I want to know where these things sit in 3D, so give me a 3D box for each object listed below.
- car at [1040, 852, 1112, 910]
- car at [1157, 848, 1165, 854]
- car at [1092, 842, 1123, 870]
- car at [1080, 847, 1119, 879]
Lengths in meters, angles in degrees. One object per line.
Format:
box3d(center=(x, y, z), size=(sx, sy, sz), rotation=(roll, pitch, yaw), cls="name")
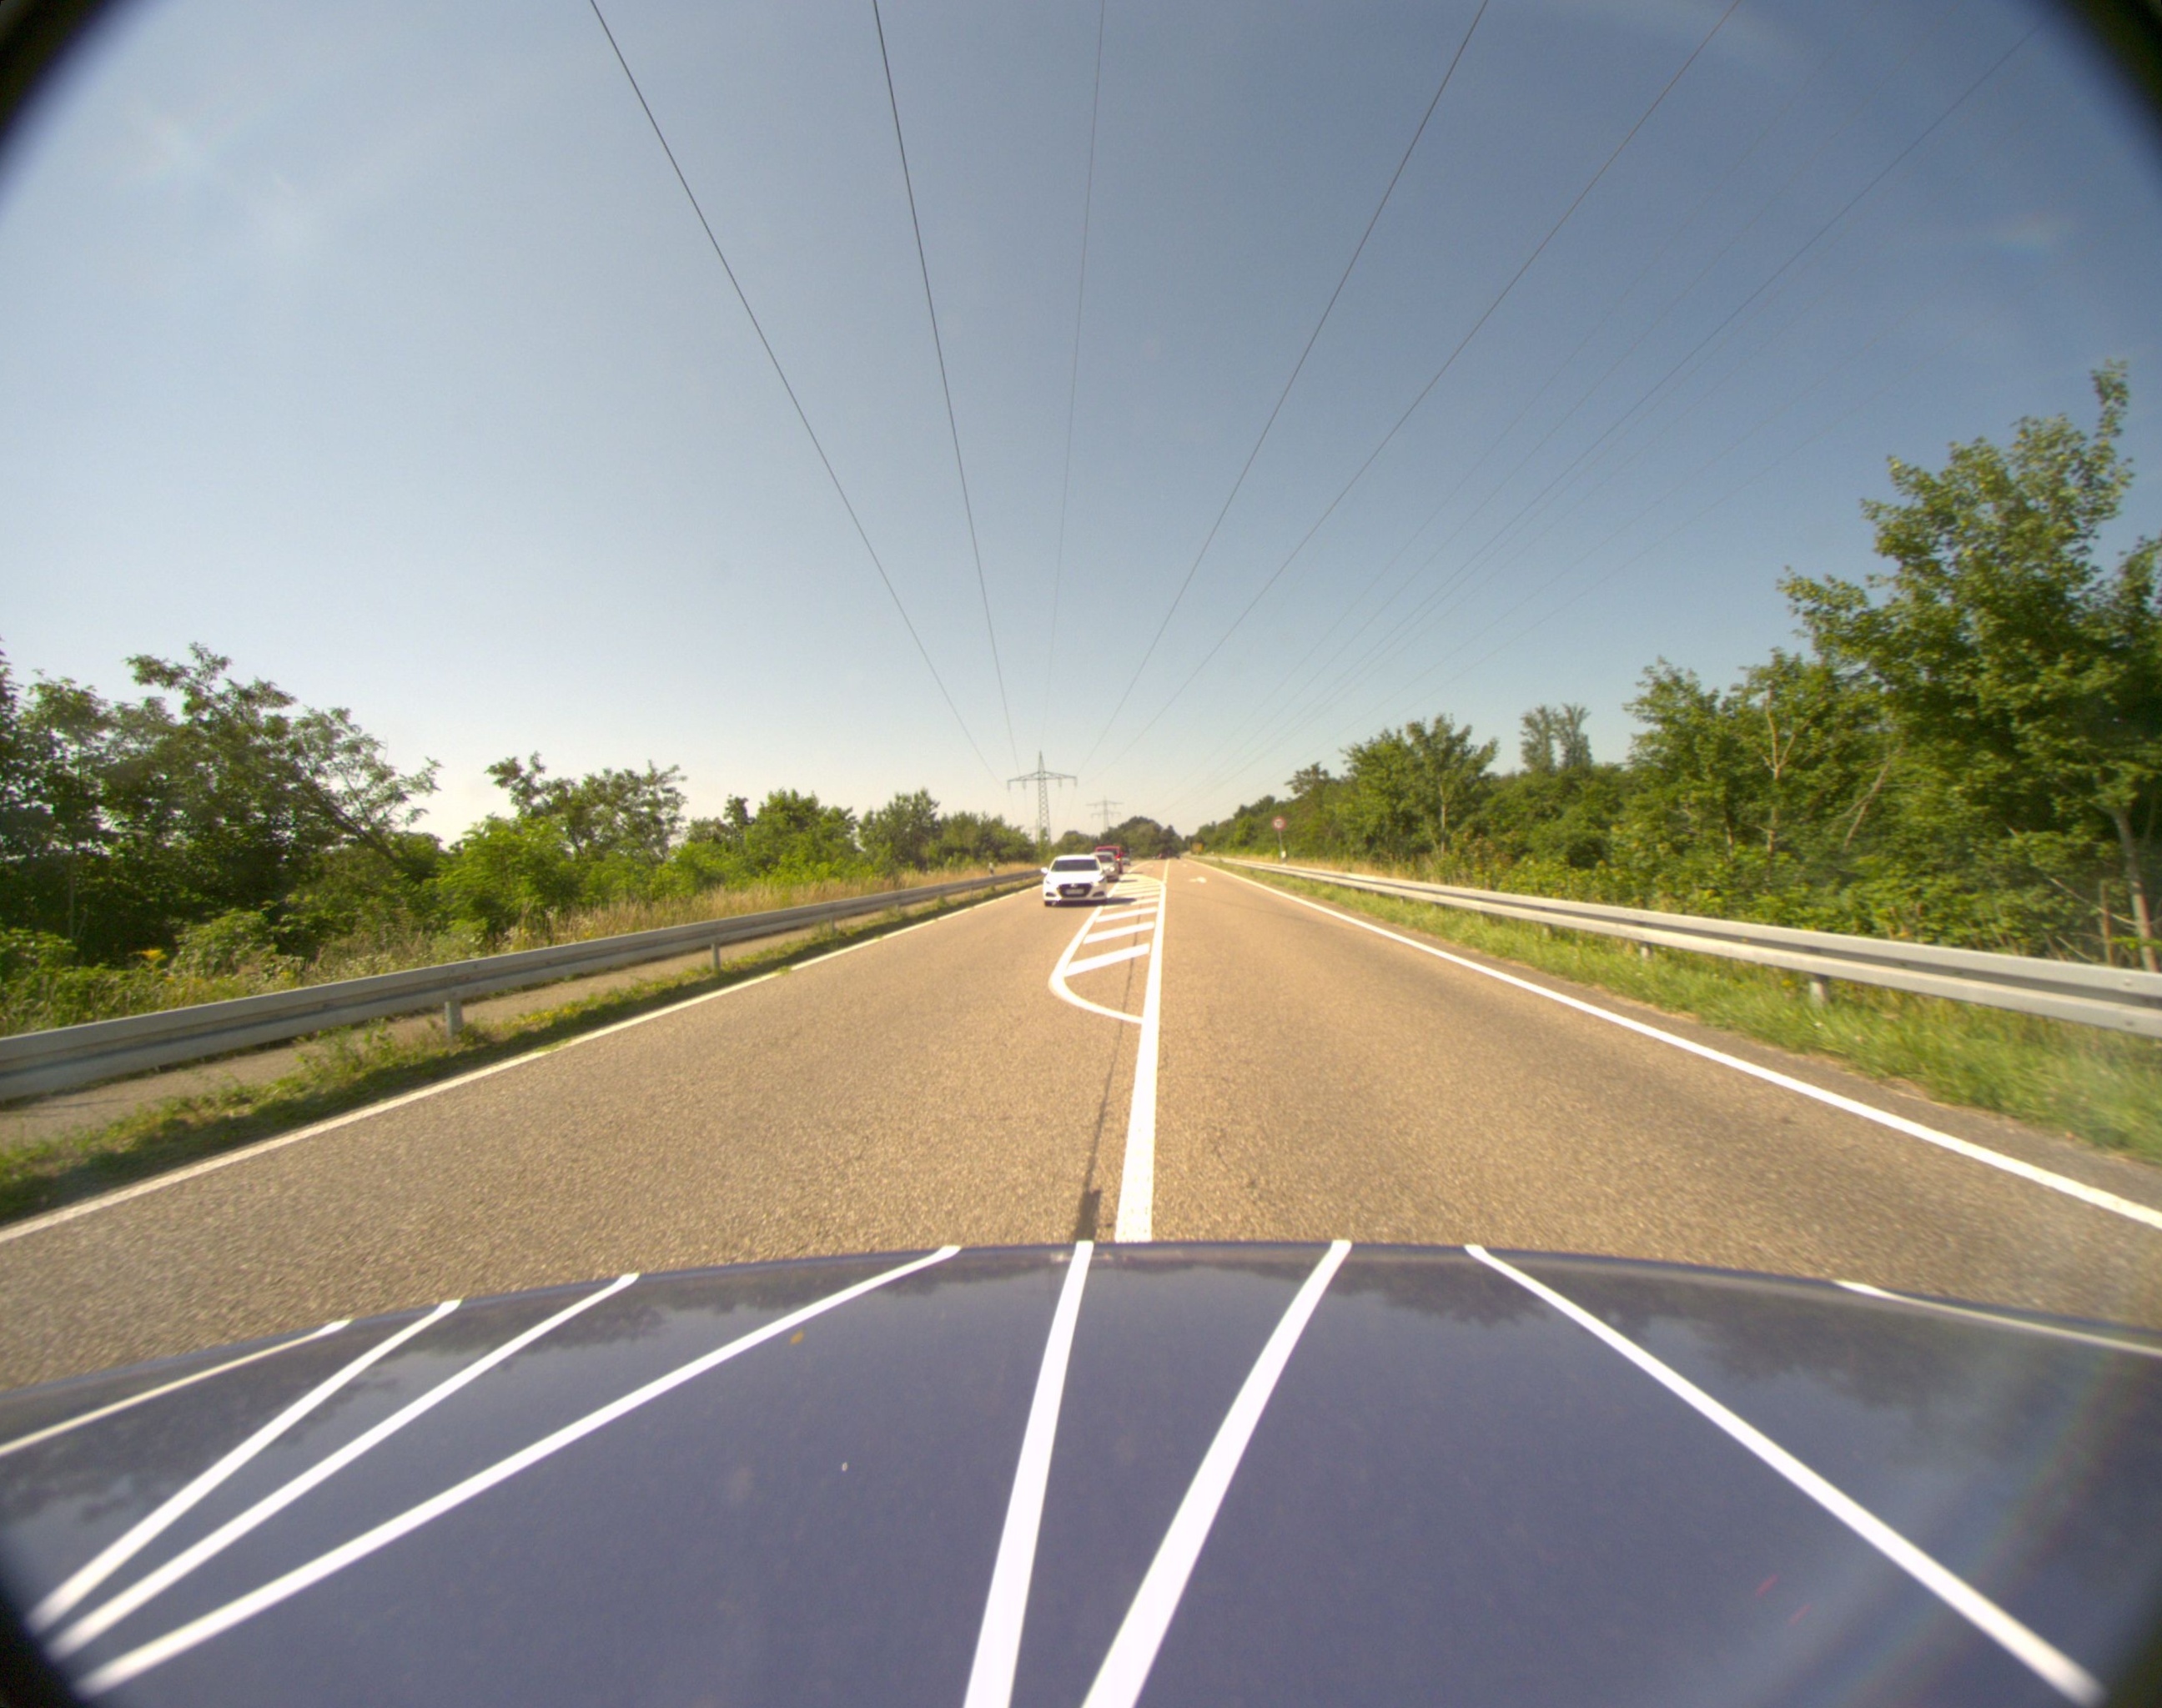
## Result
box3d(center=(-0.040, 0.732, 23.208), size=(1.922, 1.496, 4.794), rotation=(-2, 1, 3), cls="car")
box3d(center=(20.536, -0.726, 194.711), size=(1.832, 1.574, 4.001), rotation=(0, 1, 5), cls="car")
box3d(center=(1.988, 0.122, 55.484), size=(2.126, 1.934, 5.019), rotation=(-2, 1, 3), cls="car")
box3d(center=(1.034, 0.450, 40.402), size=(1.922, 1.540, 4.794), rotation=(-2, 1, 3), cls="car")
